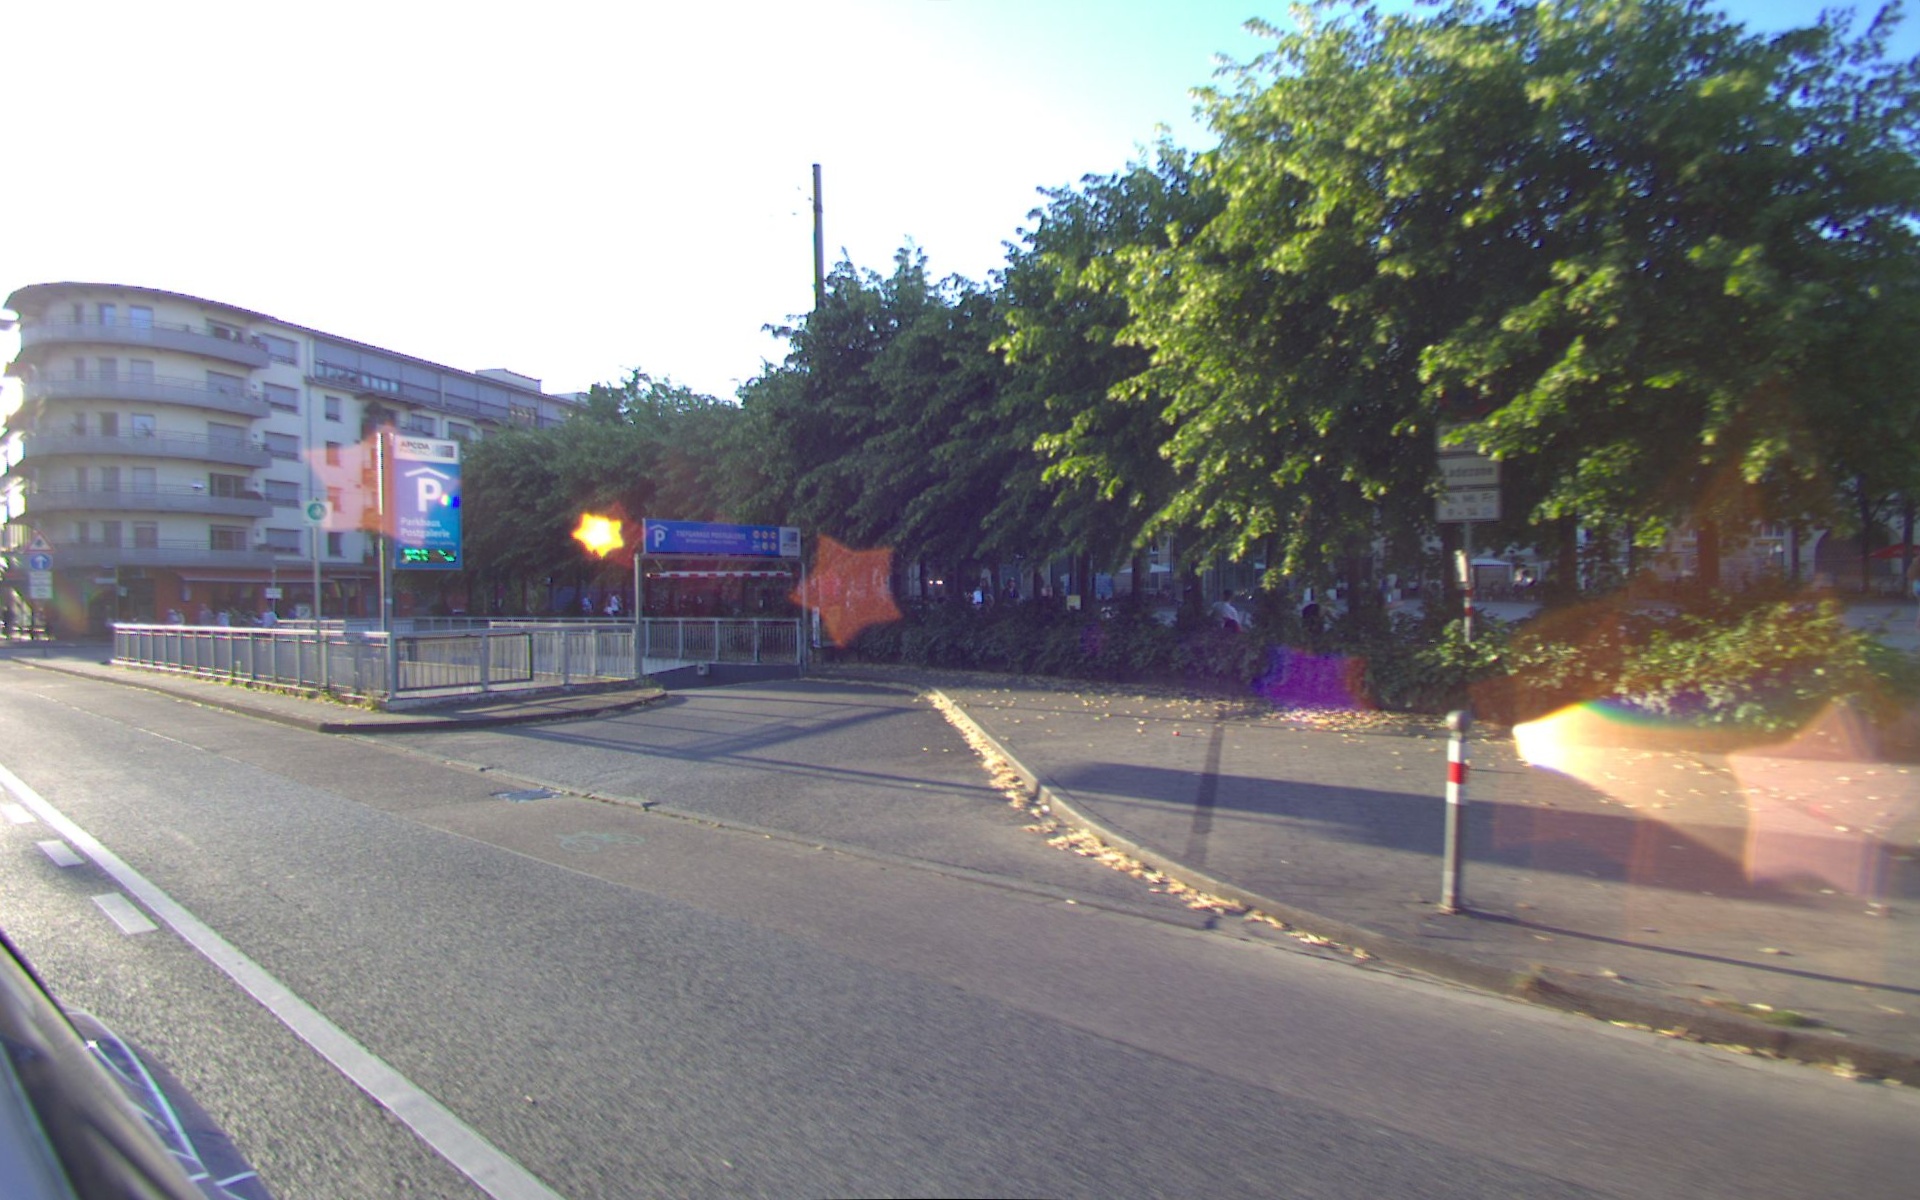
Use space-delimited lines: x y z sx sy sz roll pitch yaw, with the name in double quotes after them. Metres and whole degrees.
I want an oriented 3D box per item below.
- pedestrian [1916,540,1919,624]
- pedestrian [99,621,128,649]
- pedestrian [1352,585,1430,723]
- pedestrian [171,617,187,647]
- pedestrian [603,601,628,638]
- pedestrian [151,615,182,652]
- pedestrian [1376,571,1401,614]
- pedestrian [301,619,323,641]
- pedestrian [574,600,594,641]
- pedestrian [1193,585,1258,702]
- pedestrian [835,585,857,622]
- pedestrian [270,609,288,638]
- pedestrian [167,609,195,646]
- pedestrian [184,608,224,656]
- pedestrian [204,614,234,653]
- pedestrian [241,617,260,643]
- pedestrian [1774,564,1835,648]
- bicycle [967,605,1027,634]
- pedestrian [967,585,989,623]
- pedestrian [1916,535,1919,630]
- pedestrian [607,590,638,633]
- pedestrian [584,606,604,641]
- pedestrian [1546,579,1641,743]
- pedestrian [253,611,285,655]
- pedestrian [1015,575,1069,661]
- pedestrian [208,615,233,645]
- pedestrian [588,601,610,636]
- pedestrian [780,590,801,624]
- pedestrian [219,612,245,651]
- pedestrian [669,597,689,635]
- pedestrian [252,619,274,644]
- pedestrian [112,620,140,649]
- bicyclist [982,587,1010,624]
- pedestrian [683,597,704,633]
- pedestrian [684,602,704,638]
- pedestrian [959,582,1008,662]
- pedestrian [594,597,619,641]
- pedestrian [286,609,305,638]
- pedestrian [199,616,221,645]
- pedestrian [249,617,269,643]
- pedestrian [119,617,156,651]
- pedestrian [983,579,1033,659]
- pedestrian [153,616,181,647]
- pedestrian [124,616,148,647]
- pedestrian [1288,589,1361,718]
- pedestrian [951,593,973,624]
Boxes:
22.627 -0.420 23.184 0.680 1.963 0.802 -1 0 12 "pedestrian"
-42.081 1.733 50.304 0.675 1.291 0.970 -1 1 -8 "pedestrian"
6.396 0.774 15.022 0.791 1.963 0.732 -1 0 -36 "pedestrian"
-41.443 1.717 53.686 0.638 1.547 0.754 -1 -1 -40 "pedestrian"
-17.600 0.983 51.679 0.696 1.833 1.117 -1 -1 15 "pedestrian"
-39.090 1.638 49.877 0.845 1.807 0.863 -2 -1 19 "pedestrian"
19.737 -0.325 46.633 0.792 1.963 0.732 -1 0 -38 "pedestrian"
-38.402 1.777 59.941 0.840 1.287 0.715 0 2 -5 "pedestrian"
-16.603 0.915 44.692 0.676 1.759 0.718 -2 -1 -12 "pedestrian"
4.625 0.738 17.650 0.791 1.963 0.732 -1 0 -36 "pedestrian"
-5.418 0.157 48.204 0.696 1.740 0.916 -1 -1 16 "pedestrian"
-40.866 1.407 60.722 0.606 1.752 0.614 -2 -1 16 "pedestrian"
-38.084 1.338 49.478 0.806 1.807 0.732 -2 -1 19 "pedestrian"
-30.714 1.294 41.138 0.977 1.898 0.884 -2 -1 19 "pedestrian"
-35.467 1.583 48.425 0.708 1.816 0.878 -2 -1 15 "pedestrian"
-39.919 1.672 56.953 0.661 1.445 0.558 1 0 15 "pedestrian"
16.701 0.114 20.037 0.519 1.623 0.804 -1 0 3 "pedestrian"
1.537 0.802 42.124 2.289 1.110 0.954 -1 0 -14 "bicycle"
0.816 0.190 45.704 0.701 1.660 1.262 -1 0 14 "pedestrian"
20.228 -0.370 20.806 0.792 1.963 0.731 -1 0 -41 "pedestrian"
-15.054 0.503 45.144 0.880 1.867 0.982 -2 -1 10 "pedestrian"
-15.640 1.004 43.241 0.704 1.497 0.605 -2 -1 -12 "pedestrian"
7.944 0.736 12.692 0.791 1.963 0.732 -1 0 -36 "pedestrian"
-29.532 1.418 43.268 0.968 1.807 0.893 -2 -1 -24 "pedestrian"
1.991 0.432 24.640 0.899 2.029 0.922 -1 0 -26 "pedestrian"
-39.902 1.629 54.632 0.707 1.547 0.756 3 0 13 "pedestrian"
-18.546 0.955 52.007 0.756 1.795 0.793 -1 0 19 "pedestrian"
-10.271 0.406 61.253 0.827 2.029 1.059 -1 0 20 "pedestrian"
-35.437 1.524 49.299 0.703 1.891 0.854 -2 -1 -10 "pedestrian"
-12.314 0.707 44.297 0.785 1.594 0.732 -2 -1 -15 "pedestrian"
-39.106 1.773 56.788 0.649 1.355 0.746 1 0 14 "pedestrian"
-41.303 1.684 50.140 0.758 1.392 0.841 0 0 -9 "pedestrian"
1.479 0.236 42.155 0.740 1.521 1.386 -1 0 -16 "bicyclist"
-11.807 0.666 44.809 0.669 1.554 0.594 -1 -1 -36 "pedestrian"
-13.283 1.000 50.497 0.617 1.740 0.799 -1 -1 16 "pedestrian"
0.617 0.556 26.333 0.899 2.029 0.922 -1 0 -26 "pedestrian"
-15.401 0.843 44.091 0.770 1.889 0.715 -1 -2 -44 "pedestrian"
-40.539 1.410 61.716 0.712 1.733 0.665 -2 -1 16 "pedestrian"
-40.763 1.652 55.007 0.669 1.547 0.651 1 0 15 "pedestrian"
-40.095 1.698 57.865 0.708 1.432 0.599 -2 -1 16 "pedestrian"
-41.533 1.712 51.105 0.712 1.541 0.685 0 -28 31 "pedestrian"
1.247 0.489 26.342 0.899 2.029 0.922 -1 0 -26 "pedestrian"
-40.625 1.604 51.860 0.709 1.547 0.848 3 1 18 "pedestrian"
-42.227 1.591 51.867 0.702 1.547 0.855 -2 -1 -18 "pedestrian"
5.753 0.821 15.989 0.791 1.963 0.732 -1 0 -36 "pedestrian"
0.112 0.381 45.925 0.730 1.390 1.262 -1 0 13 "pedestrian"
